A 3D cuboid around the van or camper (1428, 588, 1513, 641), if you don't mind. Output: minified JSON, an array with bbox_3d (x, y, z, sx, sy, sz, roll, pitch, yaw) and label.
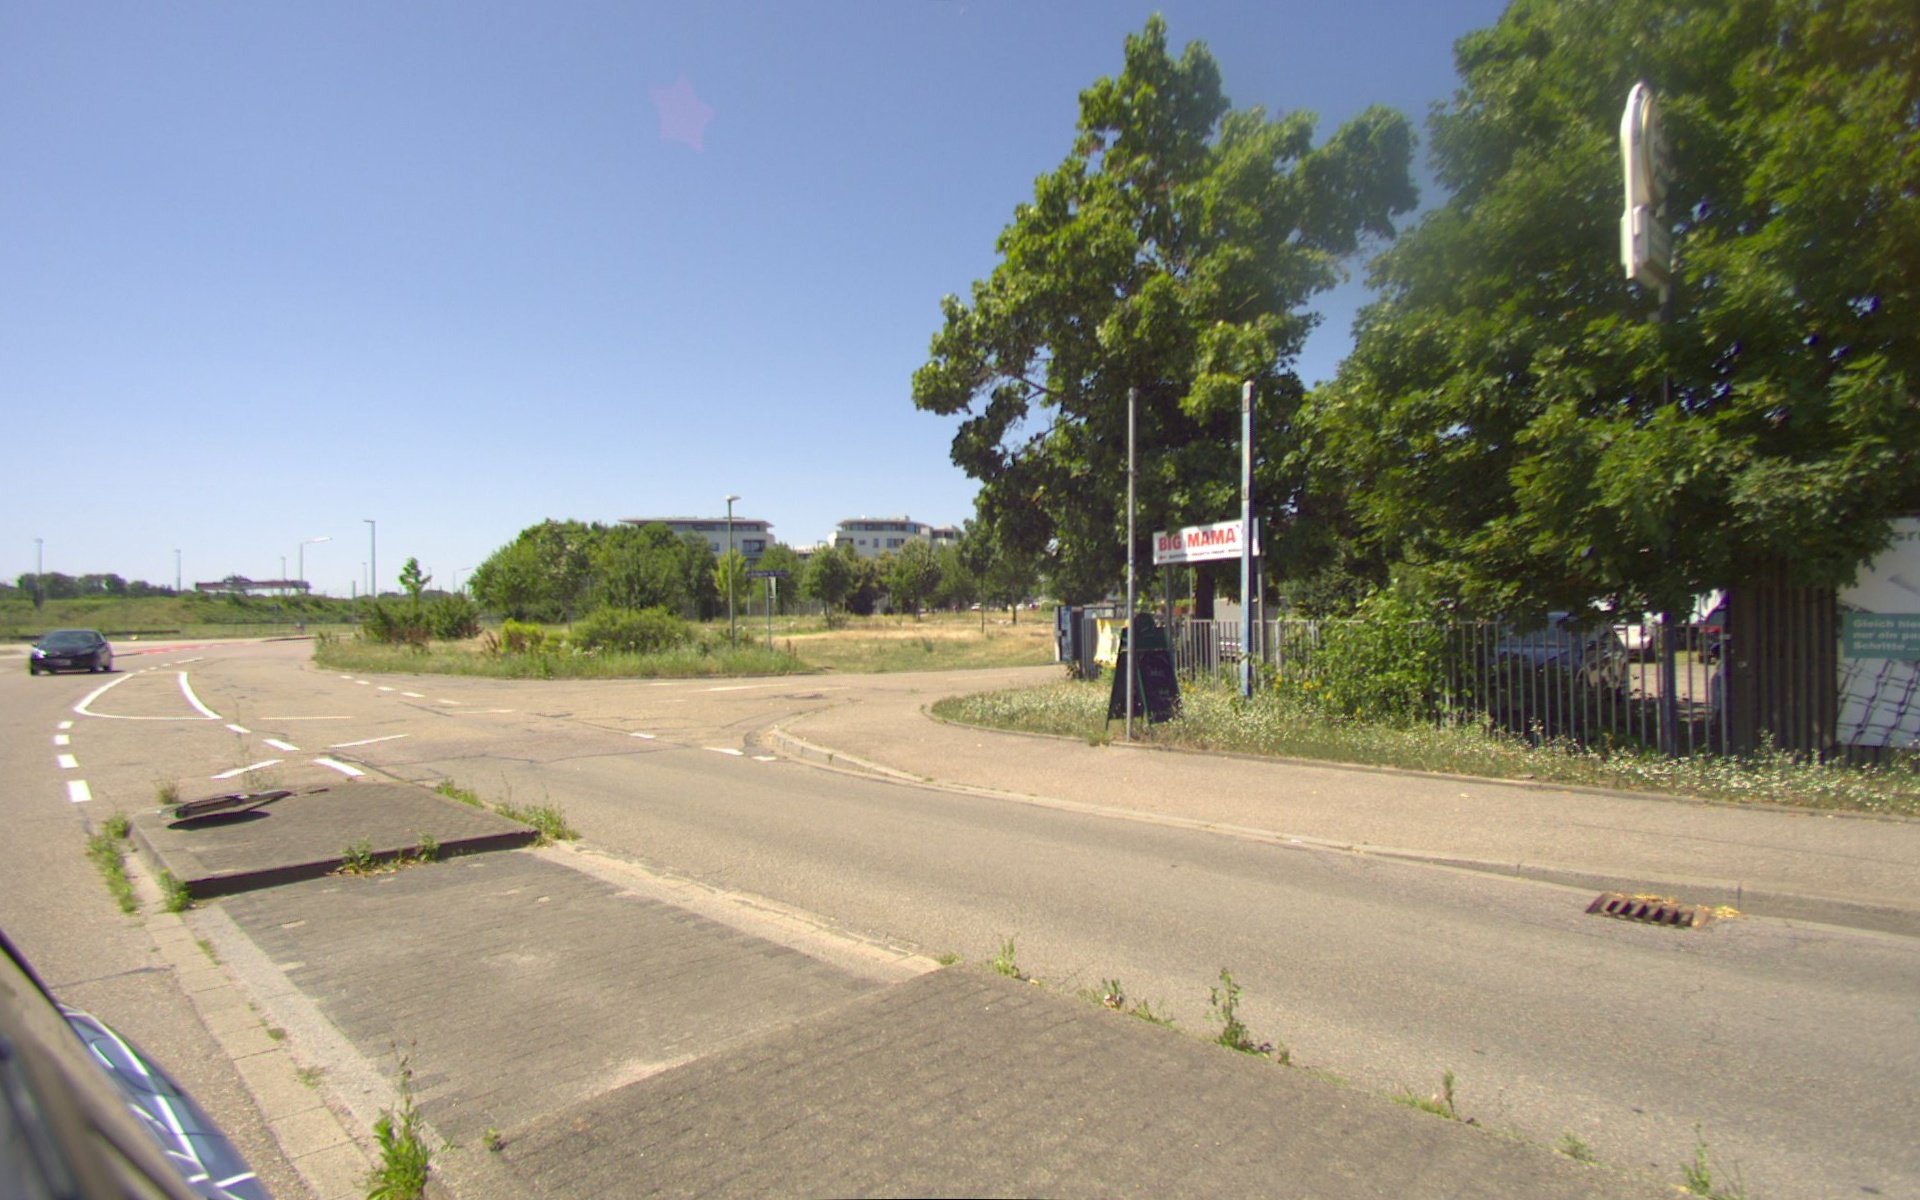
[{"bbox_3d":[26.409,0.759,52.230,2.471,2.613,5.887,-2,-2,41],"label":"van or camper"}]

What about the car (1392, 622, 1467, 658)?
[{"bbox_3d":[21.956,1.838,47.247,1.916,1.564,3.941,-2,-2,45],"label":"car"}]

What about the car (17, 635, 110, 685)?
[{"bbox_3d":[-28.999,1.890,32.863,1.627,1.478,4.171,0,-2,-33],"label":"car"}]

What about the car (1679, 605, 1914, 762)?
[{"bbox_3d":[9.927,0.856,11.905,1.810,1.537,3.819,-2,-2,44],"label":"car"}]

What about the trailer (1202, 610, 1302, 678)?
[{"bbox_3d":[9.428,1.375,32.546,1.760,2.061,3.377,-2,-2,43],"label":"trailer"}]

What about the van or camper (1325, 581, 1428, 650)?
[{"bbox_3d":[17.066,0.611,41.366,2.492,2.610,4.404,-2,0,42],"label":"van or camper"}]

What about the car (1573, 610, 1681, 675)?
[{"bbox_3d":[17.513,1.077,26.528,1.773,1.589,3.297,-2,-2,44],"label":"car"}]

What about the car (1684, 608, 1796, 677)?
[{"bbox_3d":[19.062,1.001,24.688,1.773,1.577,3.297,-2,-2,44],"label":"car"}]
